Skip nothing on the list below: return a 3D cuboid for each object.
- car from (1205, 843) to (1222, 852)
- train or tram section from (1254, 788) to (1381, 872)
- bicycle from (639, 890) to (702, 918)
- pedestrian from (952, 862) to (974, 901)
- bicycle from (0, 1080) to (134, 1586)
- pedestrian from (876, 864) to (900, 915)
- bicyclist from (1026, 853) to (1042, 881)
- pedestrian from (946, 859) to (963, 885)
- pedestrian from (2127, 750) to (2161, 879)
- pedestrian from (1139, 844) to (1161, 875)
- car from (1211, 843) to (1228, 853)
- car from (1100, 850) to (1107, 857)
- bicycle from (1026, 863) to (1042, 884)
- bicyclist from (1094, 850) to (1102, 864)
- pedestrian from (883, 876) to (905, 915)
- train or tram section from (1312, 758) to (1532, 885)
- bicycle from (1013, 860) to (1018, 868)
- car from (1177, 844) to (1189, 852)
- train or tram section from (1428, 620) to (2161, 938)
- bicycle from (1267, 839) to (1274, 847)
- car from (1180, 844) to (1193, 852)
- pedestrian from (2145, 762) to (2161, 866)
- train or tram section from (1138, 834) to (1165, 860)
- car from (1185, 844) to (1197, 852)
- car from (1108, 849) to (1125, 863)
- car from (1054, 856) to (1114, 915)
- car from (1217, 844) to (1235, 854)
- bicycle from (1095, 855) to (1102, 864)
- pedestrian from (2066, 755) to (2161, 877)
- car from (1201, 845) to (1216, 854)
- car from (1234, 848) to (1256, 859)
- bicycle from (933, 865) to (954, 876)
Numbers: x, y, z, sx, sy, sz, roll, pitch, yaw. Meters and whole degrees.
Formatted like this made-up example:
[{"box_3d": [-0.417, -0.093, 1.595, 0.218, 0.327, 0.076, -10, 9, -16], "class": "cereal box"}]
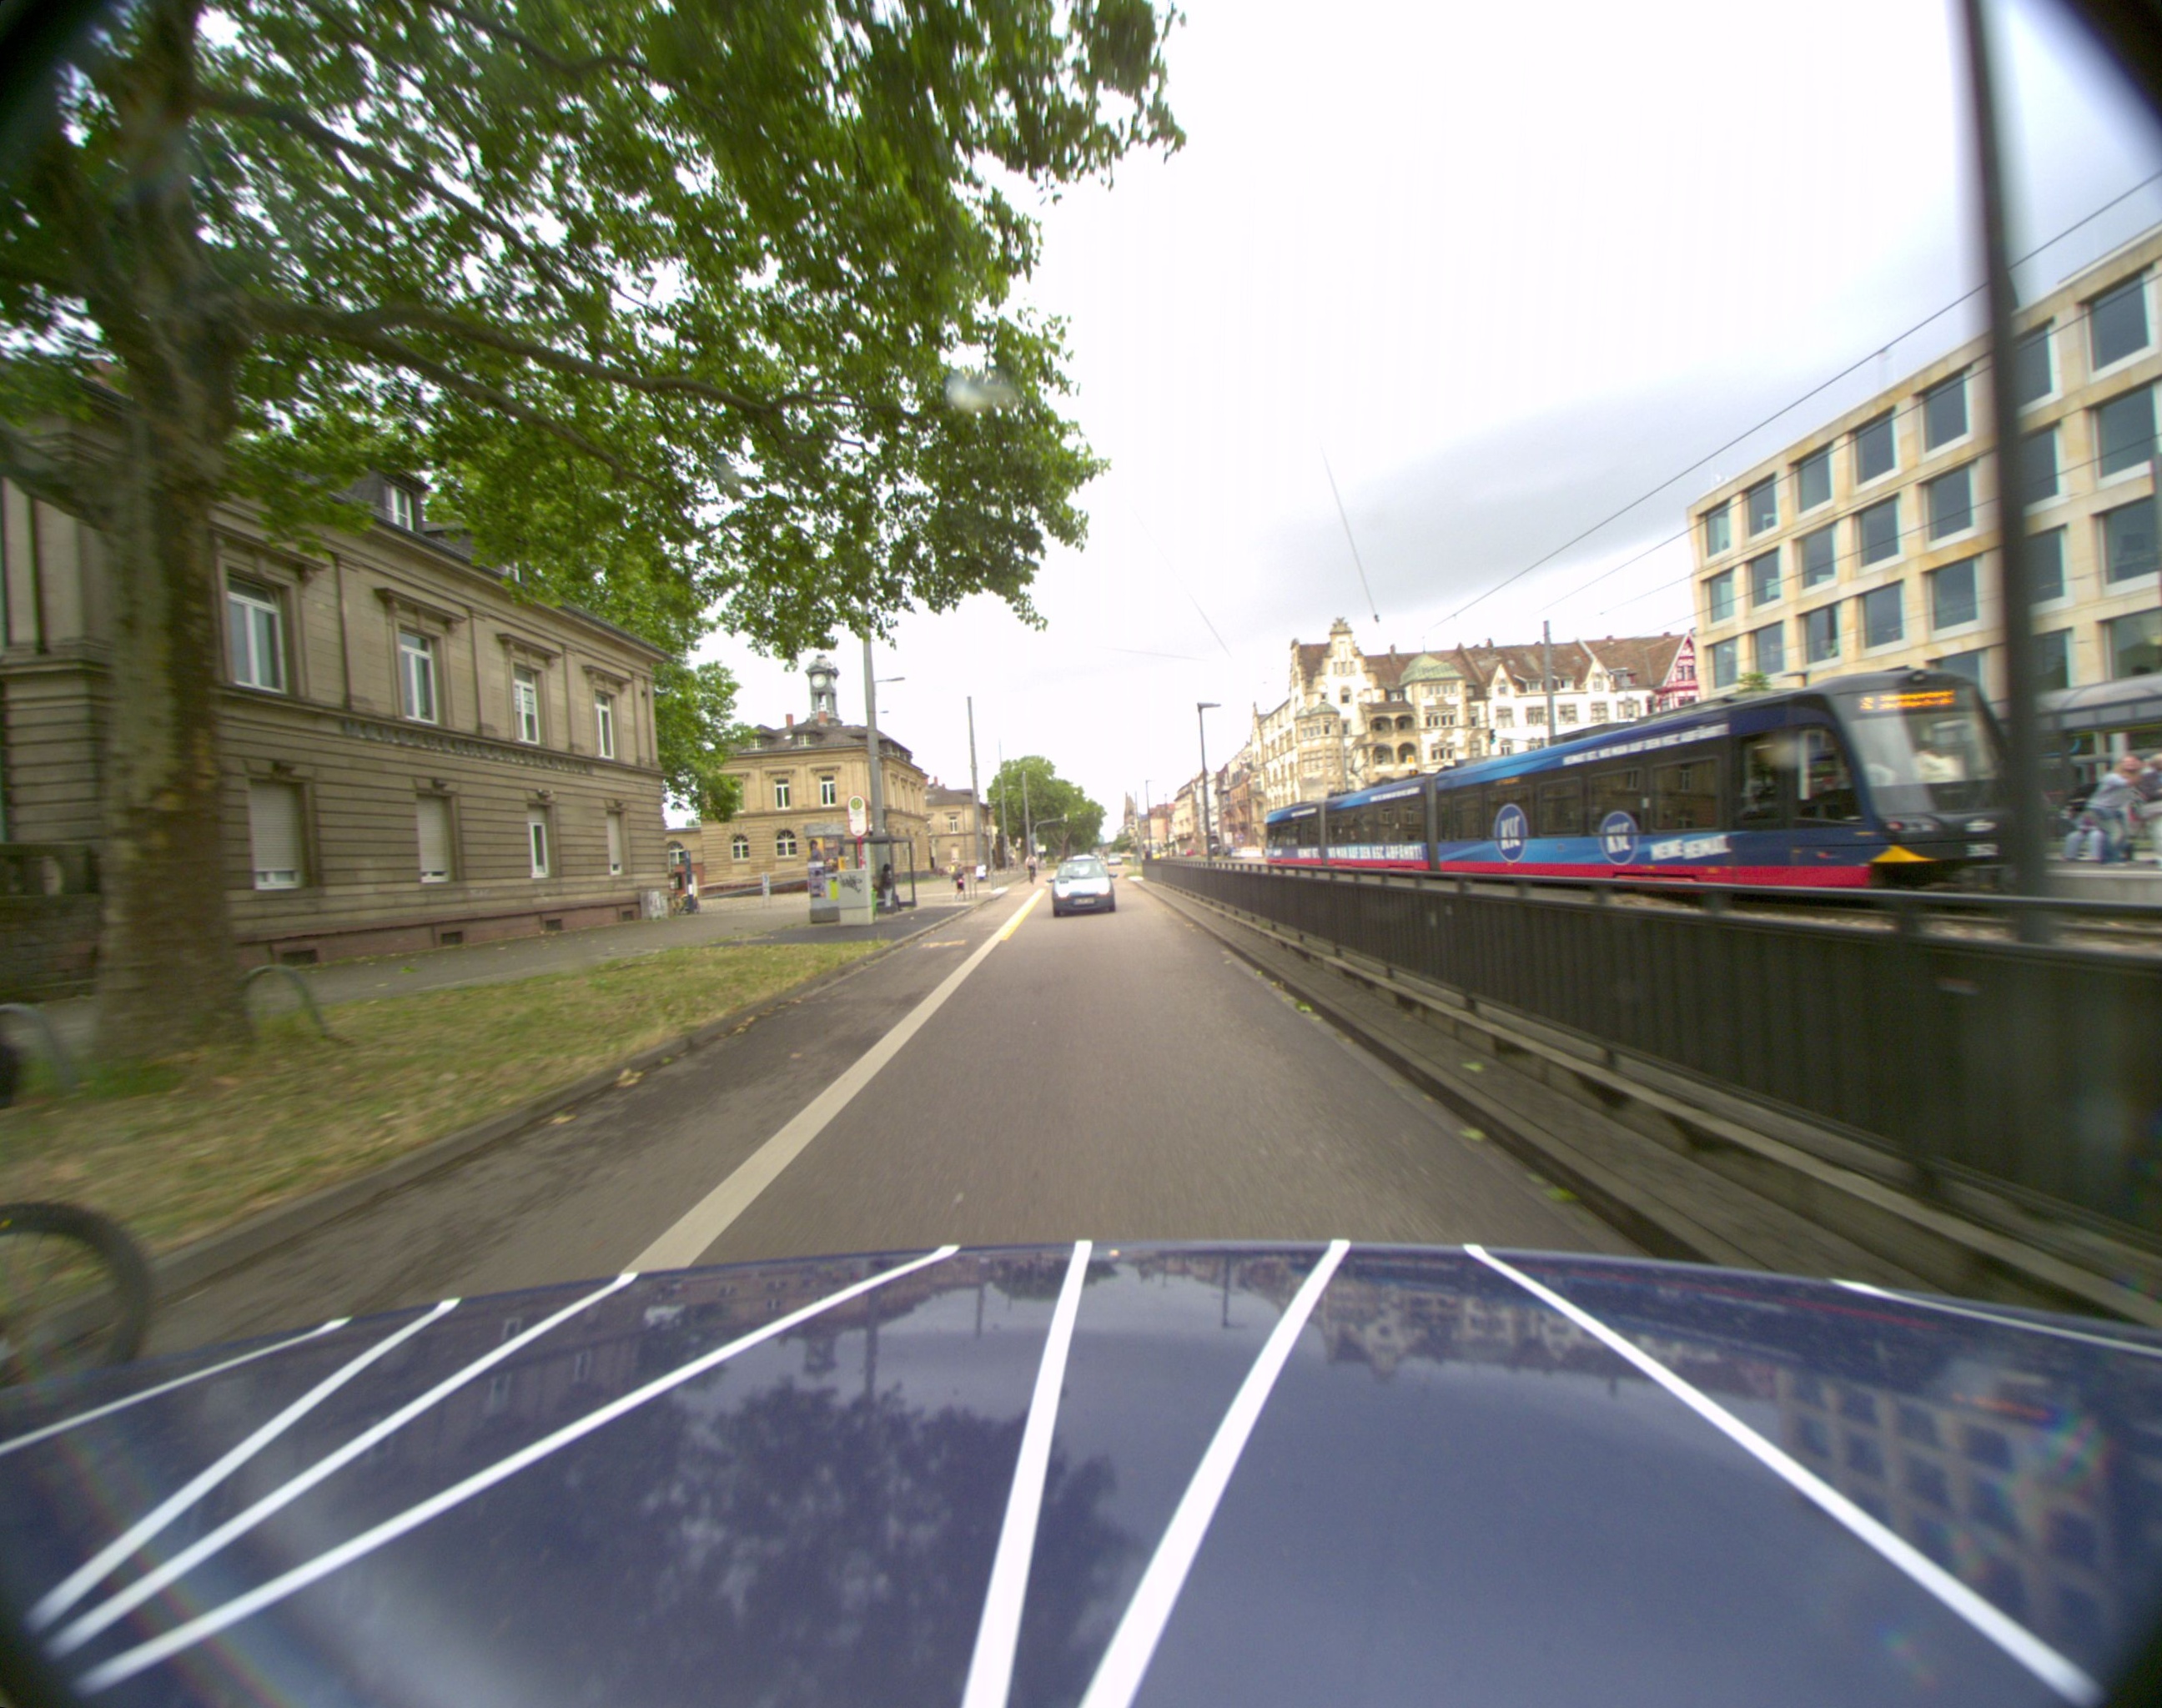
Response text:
[{"box_3d": [23.228, -1.138, 133.299, 1.999, 1.587, 3.998, -4, 1, -2], "class": "car"}, {"box_3d": [12.015, -1.187, 40.132, 2.862, 3.619, 11.763, -3, 1, 0], "class": "train or tram section"}, {"box_3d": [-17.902, 2.179, 33.292, 0.903, 1.061, 3.407, -4, -2, -1], "class": "bicycle"}, {"box_3d": [-4.757, 1.089, 30.617, 0.552, 1.520, 0.639, -3, 1, 18], "class": "pedestrian"}, {"box_3d": [-2.937, 1.215, 0.917, 0.654, 1.143, 2.282, -4, 1, -1], "class": "bicycle"}, {"box_3d": [-6.146, 1.120, 24.170, 0.477, 1.554, 0.702, -3, 1, 0], "class": "pedestrian"}, {"box_3d": [-2.881, 0.781, 46.516, 0.812, 1.591, 1.189, -3, 1, 1], "class": "bicyclist"}, {"box_3d": [-8.473, 1.202, 51.024, 0.720, 1.668, 1.000, -3, 1, 11], "class": "pedestrian"}, {"box_3d": [14.977, -0.553, 10.344, 0.596, 1.759, 0.589, -3, 1, 8], "class": "pedestrian"}, {"box_3d": [3.734, 0.314, 41.069, 0.862, 1.633, 0.651, -5, 2, -41], "class": "pedestrian"}, {"box_3d": [23.099, -1.035, 126.783, 1.999, 1.587, 3.998, -4, 1, -2], "class": "car"}, {"box_3d": [7.338, -0.229, 251.884, 1.999, 2.002, 3.999, -4, 1, -1], "class": "car"}, {"box_3d": [-2.859, 1.202, 46.584, 0.814, 1.163, 2.276, -4, 1, -1], "class": "bicycle"}, {"box_3d": [2.132, 0.375, 94.302, 0.812, 1.586, 0.890, -4, -1, -1], "class": "bicyclist"}, {"box_3d": [-6.248, 1.388, 25.353, 0.477, 1.227, 0.702, -3, 1, 0], "class": "pedestrian"}, {"box_3d": [11.949, -1.059, 28.485, 2.862, 3.619, 11.697, -3, 1, 0], "class": "train or tram section"}, {"box_3d": [-10.408, 1.586, 120.742, 0.677, 1.158, 2.112, -4, 1, -8], "class": "bicycle"}, {"box_3d": [23.848, -1.378, 177.343, 1.999, 1.587, 3.998, -4, 1, -2], "class": "car"}, {"box_3d": [11.807, -1.001, 15.929, 2.862, 3.671, 13.518, -3, 1, 1], "class": "train or tram section"}, {"box_3d": [24.536, -1.413, 98.252, 0.707, 1.031, 2.025, -4, 0, 18], "class": "bicycle"}, {"box_3d": [23.748, -1.288, 171.036, 1.999, 1.587, 3.998, -4, 1, -2], "class": "car"}, {"box_3d": [16.657, -0.619, 11.426, 0.589, 1.579, 0.596, -4, 1, -17], "class": "pedestrian"}, {"box_3d": [10.214, -1.116, 111.601, 2.651, 3.417, 13.617, -3, 1, 1], "class": "train or tram section"}, {"box_3d": [23.867, -1.316, 164.977, 1.999, 1.587, 3.998, -4, 1, -2], "class": "car"}, {"box_3d": [4.532, 0.300, 97.860, 1.869, 1.630, 3.774, -3, 1, -1], "class": "car"}, {"box_3d": [0.152, 0.842, 21.859, 1.534, 1.464, 3.353, -3, 1, 2], "class": "car"}, {"box_3d": [23.023, -0.864, 120.619, 1.999, 1.434, 3.998, -4, 1, -2], "class": "car"}, {"box_3d": [2.160, 0.678, 94.273, 0.812, 0.939, 2.147, -4, -2, -1], "class": "bicycle"}, {"box_3d": [15.646, -0.566, 11.524, 0.596, 1.759, 0.589, -3, 1, 8], "class": "pedestrian"}, {"box_3d": [23.497, -0.815, 140.071, 1.999, 1.587, 3.998, -4, 1, -2], "class": "car"}, {"box_3d": [23.215, -0.049, 107.690, 1.999, 1.434, 3.998, -4, 1, -2], "class": "car"}, {"box_3d": [-13.360, 1.615, 73.867, 1.859, 1.072, 0.547, -1, 1, -17], "class": "bicycle"}]
